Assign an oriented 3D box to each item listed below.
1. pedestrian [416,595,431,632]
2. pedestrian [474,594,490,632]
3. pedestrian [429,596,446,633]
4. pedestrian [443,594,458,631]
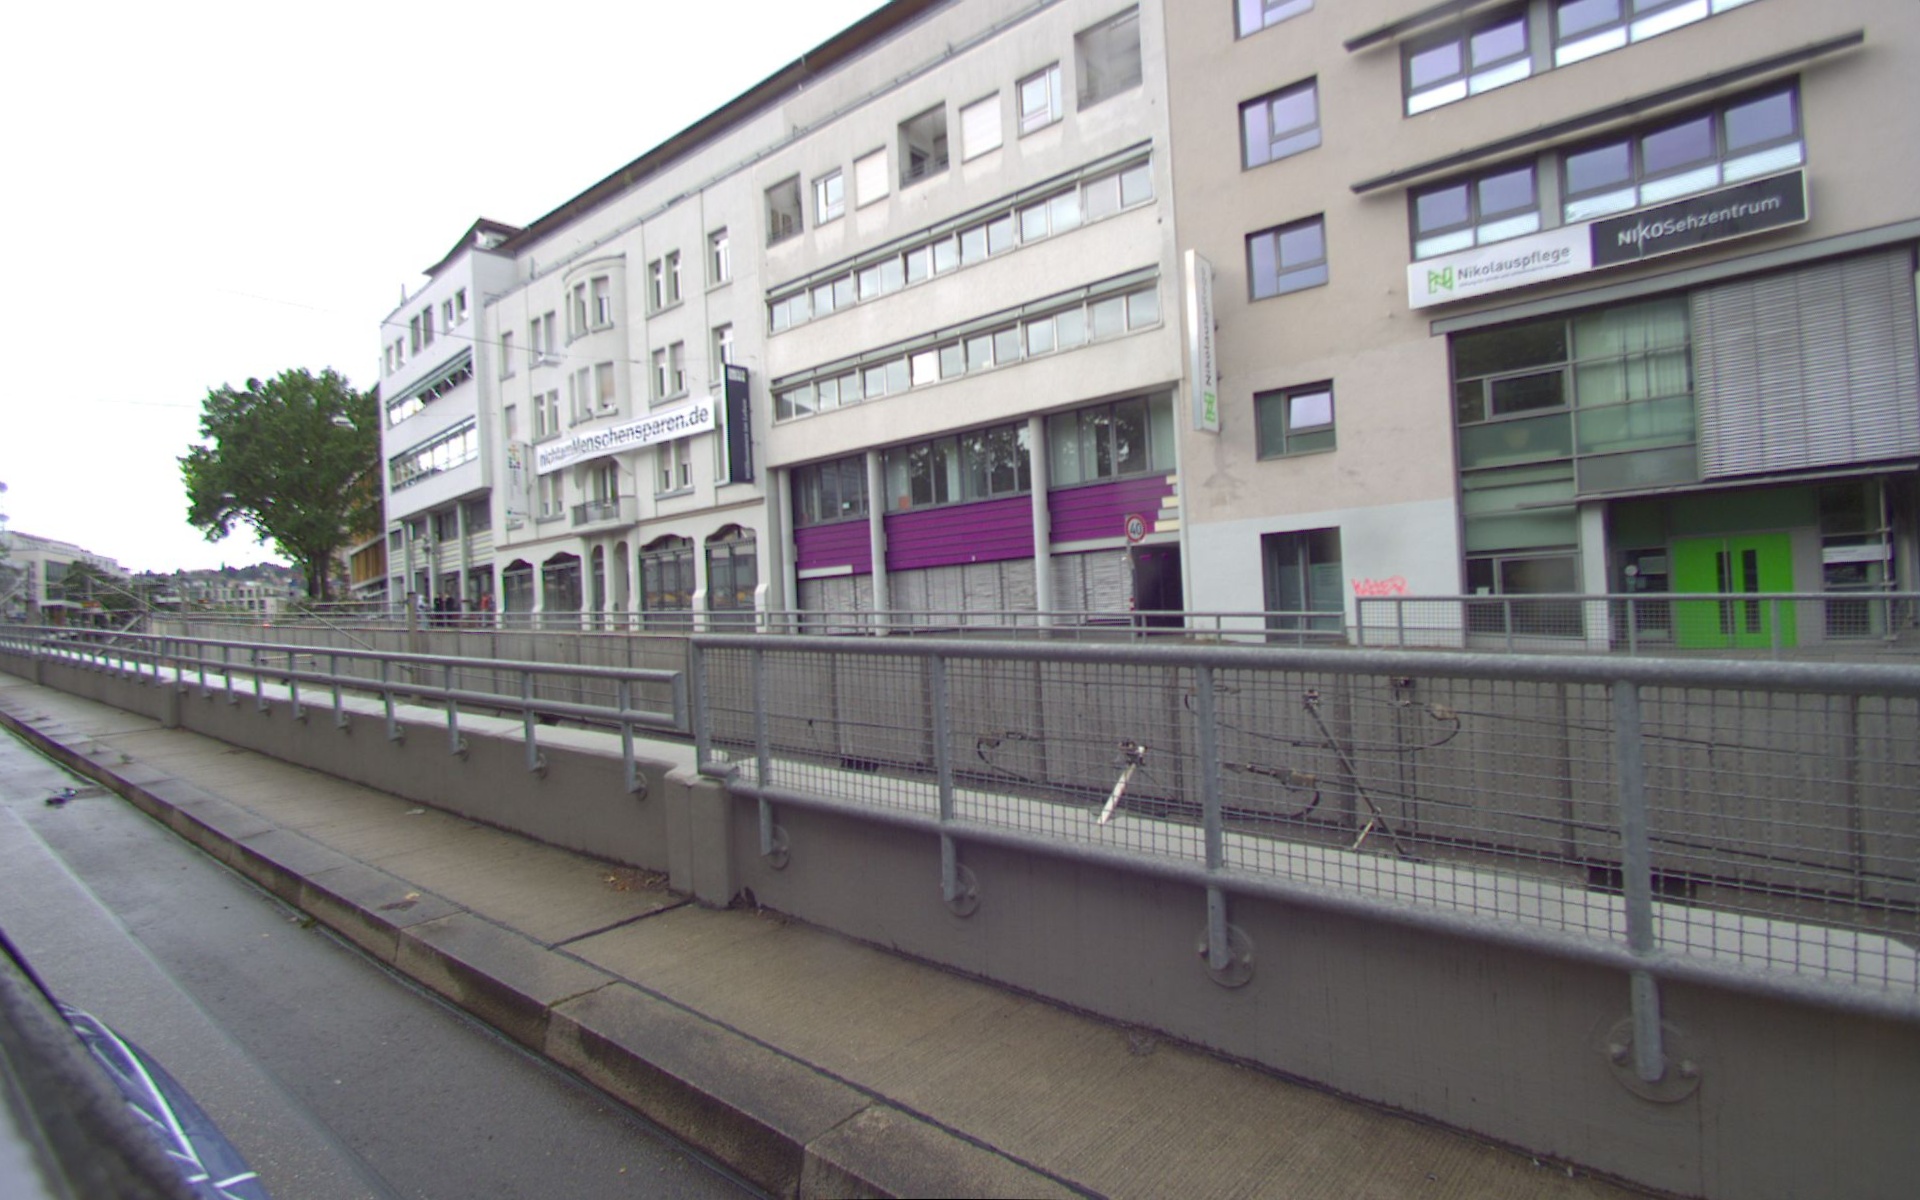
[{"bbox_3d":[-26.739,0.671,50.464,0.463,1.816,0.548,-3,1,-42],"label":"pedestrian"},{"bbox_3d":[-23.027,0.629,48.751,0.547,1.816,0.464,-1,1,40],"label":"pedestrian"},{"bbox_3d":[-26.432,0.727,51.222,0.469,1.816,0.541,-2,1,33],"label":"pedestrian"},{"bbox_3d":[-25.418,0.627,50.473,0.547,1.816,0.463,-2,1,44],"label":"pedestrian"}]
